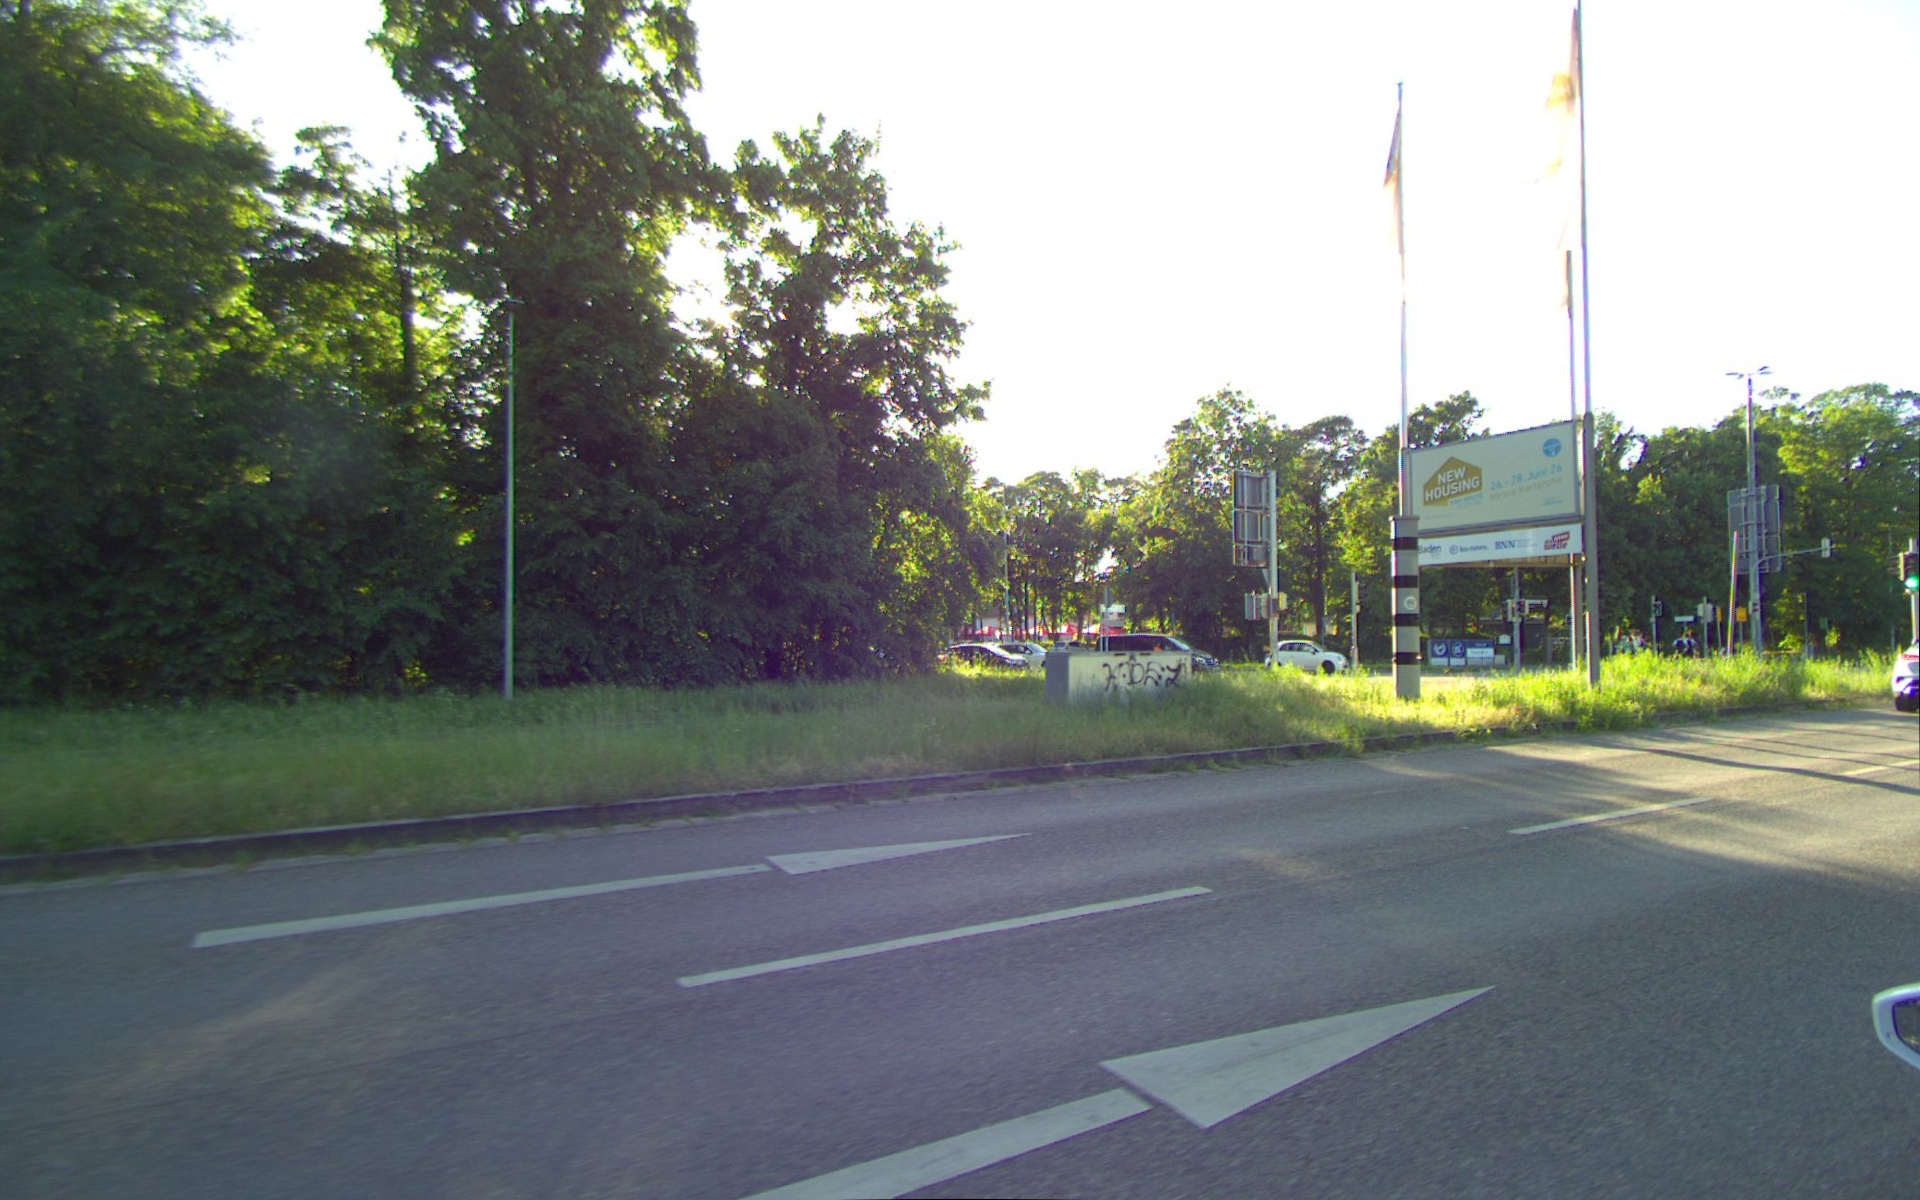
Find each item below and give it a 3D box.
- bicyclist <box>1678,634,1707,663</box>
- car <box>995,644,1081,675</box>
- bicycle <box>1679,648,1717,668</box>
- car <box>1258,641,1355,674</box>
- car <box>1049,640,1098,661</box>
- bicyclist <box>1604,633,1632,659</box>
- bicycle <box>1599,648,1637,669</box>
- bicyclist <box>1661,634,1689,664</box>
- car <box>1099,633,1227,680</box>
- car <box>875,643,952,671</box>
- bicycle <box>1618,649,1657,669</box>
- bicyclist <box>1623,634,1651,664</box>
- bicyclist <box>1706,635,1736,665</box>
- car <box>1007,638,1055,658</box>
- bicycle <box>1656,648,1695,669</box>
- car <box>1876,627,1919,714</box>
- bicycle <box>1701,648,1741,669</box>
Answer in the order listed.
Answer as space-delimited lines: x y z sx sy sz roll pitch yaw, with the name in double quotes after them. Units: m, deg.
34.992 2.306 47.989 0.978 1.360 0.712 1 -2 -28 "bicyclist"
3.743 2.841 48.428 3.736 1.407 1.849 -2 -3 34 "car"
35.393 2.759 48.191 1.887 0.926 0.712 1 -2 -28 "bicycle"
15.434 2.538 44.800 3.736 1.407 1.923 -2 -3 34 "car"
9.296 4.106 82.328 4.123 1.620 1.790 2 -3 -44 "car"
31.873 2.228 48.661 0.978 1.208 0.712 1 -2 -28 "bicyclist"
31.876 2.828 48.641 1.887 0.926 0.712 0 -2 -28 "bicycle"
33.590 2.292 47.181 0.978 1.373 0.712 1 -2 -28 "bicyclist"
8.362 2.325 41.638 4.851 1.854 1.923 -2 -3 34 "car"
-2.460 2.990 52.853 3.736 1.407 1.849 -2 -3 34 "car"
32.264 2.802 47.818 1.887 0.926 0.712 1 -2 -28 "bicycle"
32.230 2.313 47.820 0.978 1.408 0.708 1 -2 -28 "bicyclist"
34.520 2.260 45.551 0.978 1.356 0.712 1 -2 -28 "bicyclist"
5.941 3.949 83.658 3.945 1.620 1.790 2 -3 -44 "car"
33.595 2.732 47.171 1.887 0.926 0.712 1 -2 -28 "bicycle"
18.090 1.222 17.704 3.955 1.463 1.854 1 -2 -31 "car"
34.469 2.658 45.513 1.887 0.926 0.712 1 -2 -28 "bicycle"
